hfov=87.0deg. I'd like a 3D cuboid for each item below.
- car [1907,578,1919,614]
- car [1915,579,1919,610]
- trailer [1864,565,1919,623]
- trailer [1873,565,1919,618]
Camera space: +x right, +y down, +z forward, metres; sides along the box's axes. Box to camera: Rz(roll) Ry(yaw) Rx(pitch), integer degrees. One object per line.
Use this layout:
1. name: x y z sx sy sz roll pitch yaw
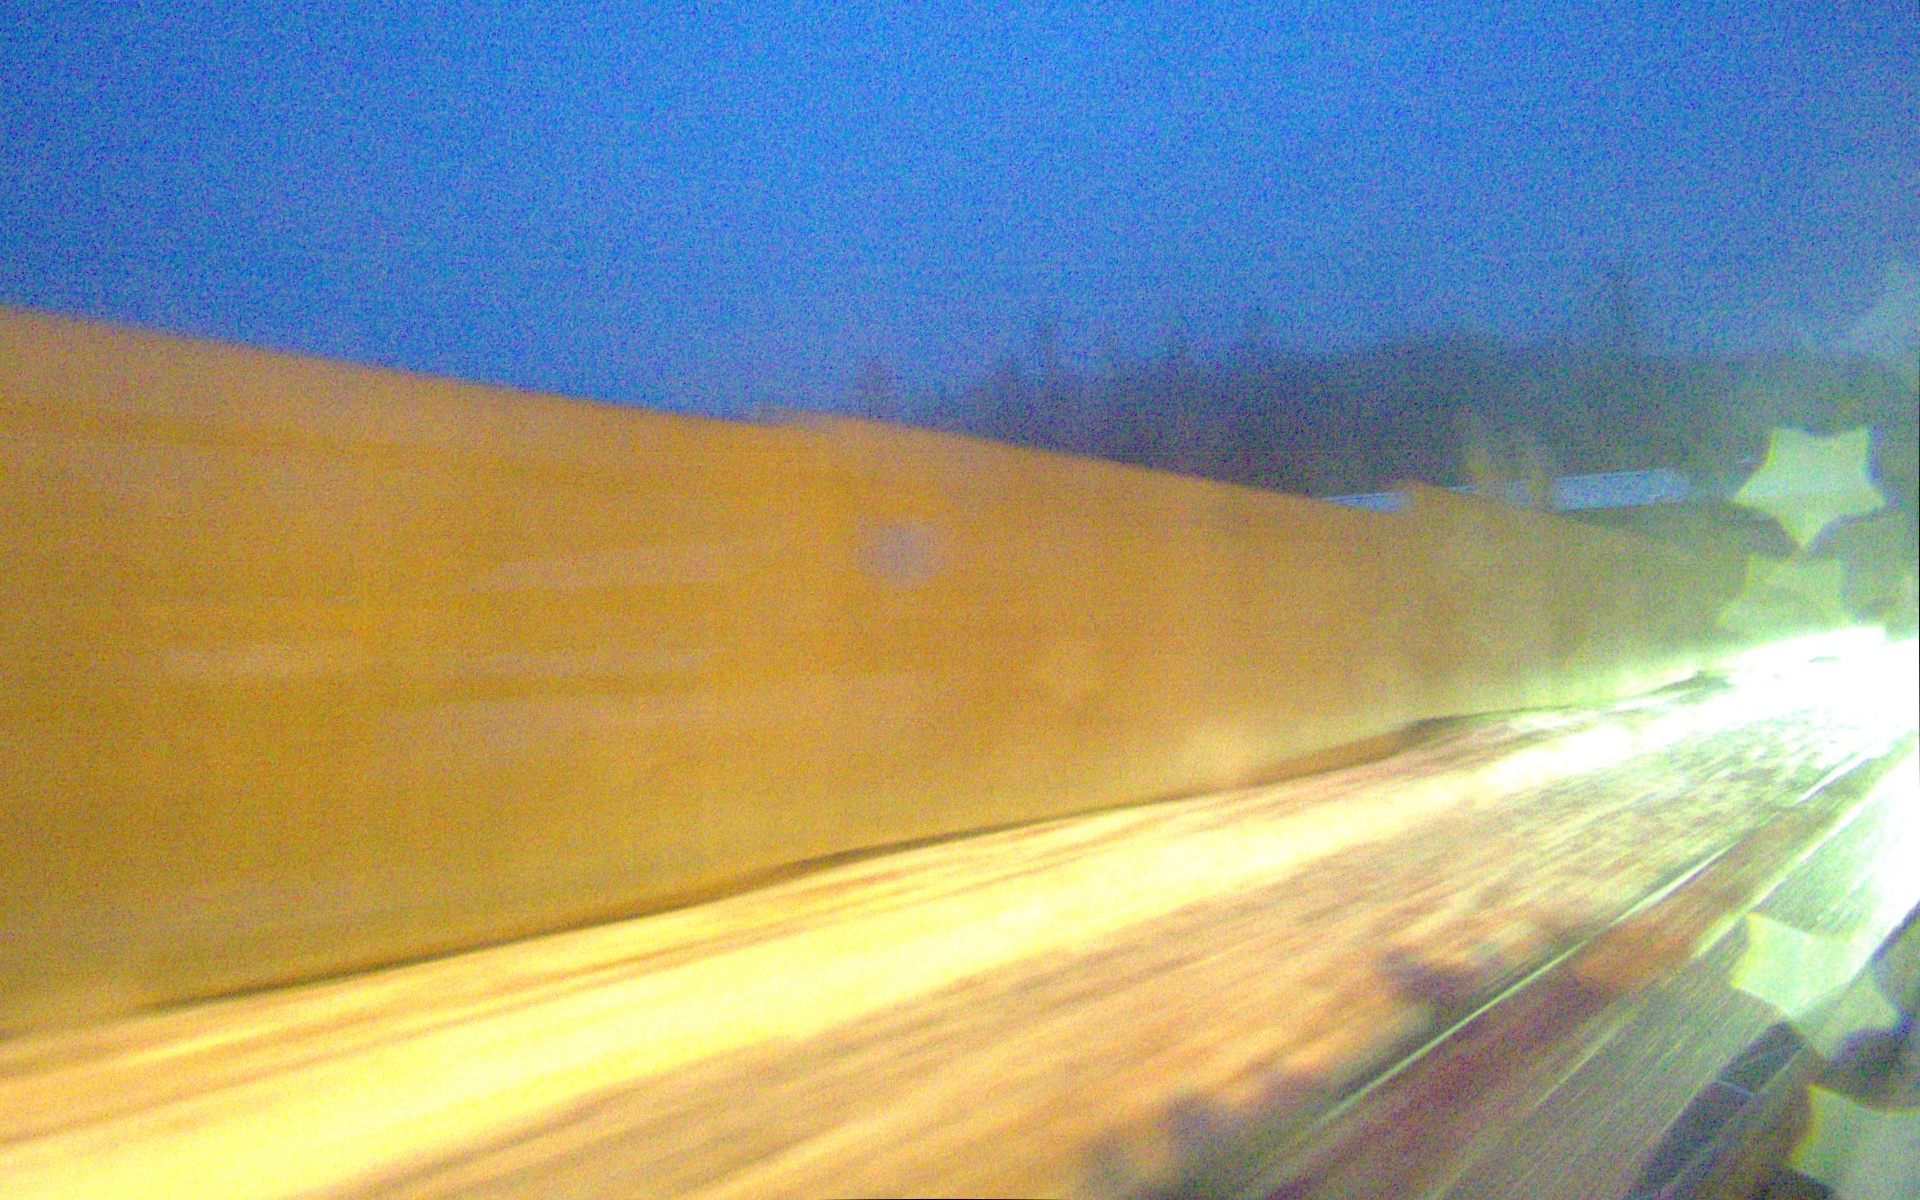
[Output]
1. car: 57.565 -0.272 60.081 1.877 2.066 4.323 -3 -1 43
2. car: 61.083 -0.381 63.229 4.089 1.832 1.878 -2 -1 -45
3. trailer: 41.654 -0.293 45.004 4.575 2.395 1.631 -1 -2 -43
4. trailer: 45.273 -0.443 48.581 4.356 2.382 1.607 -1 -3 -43
